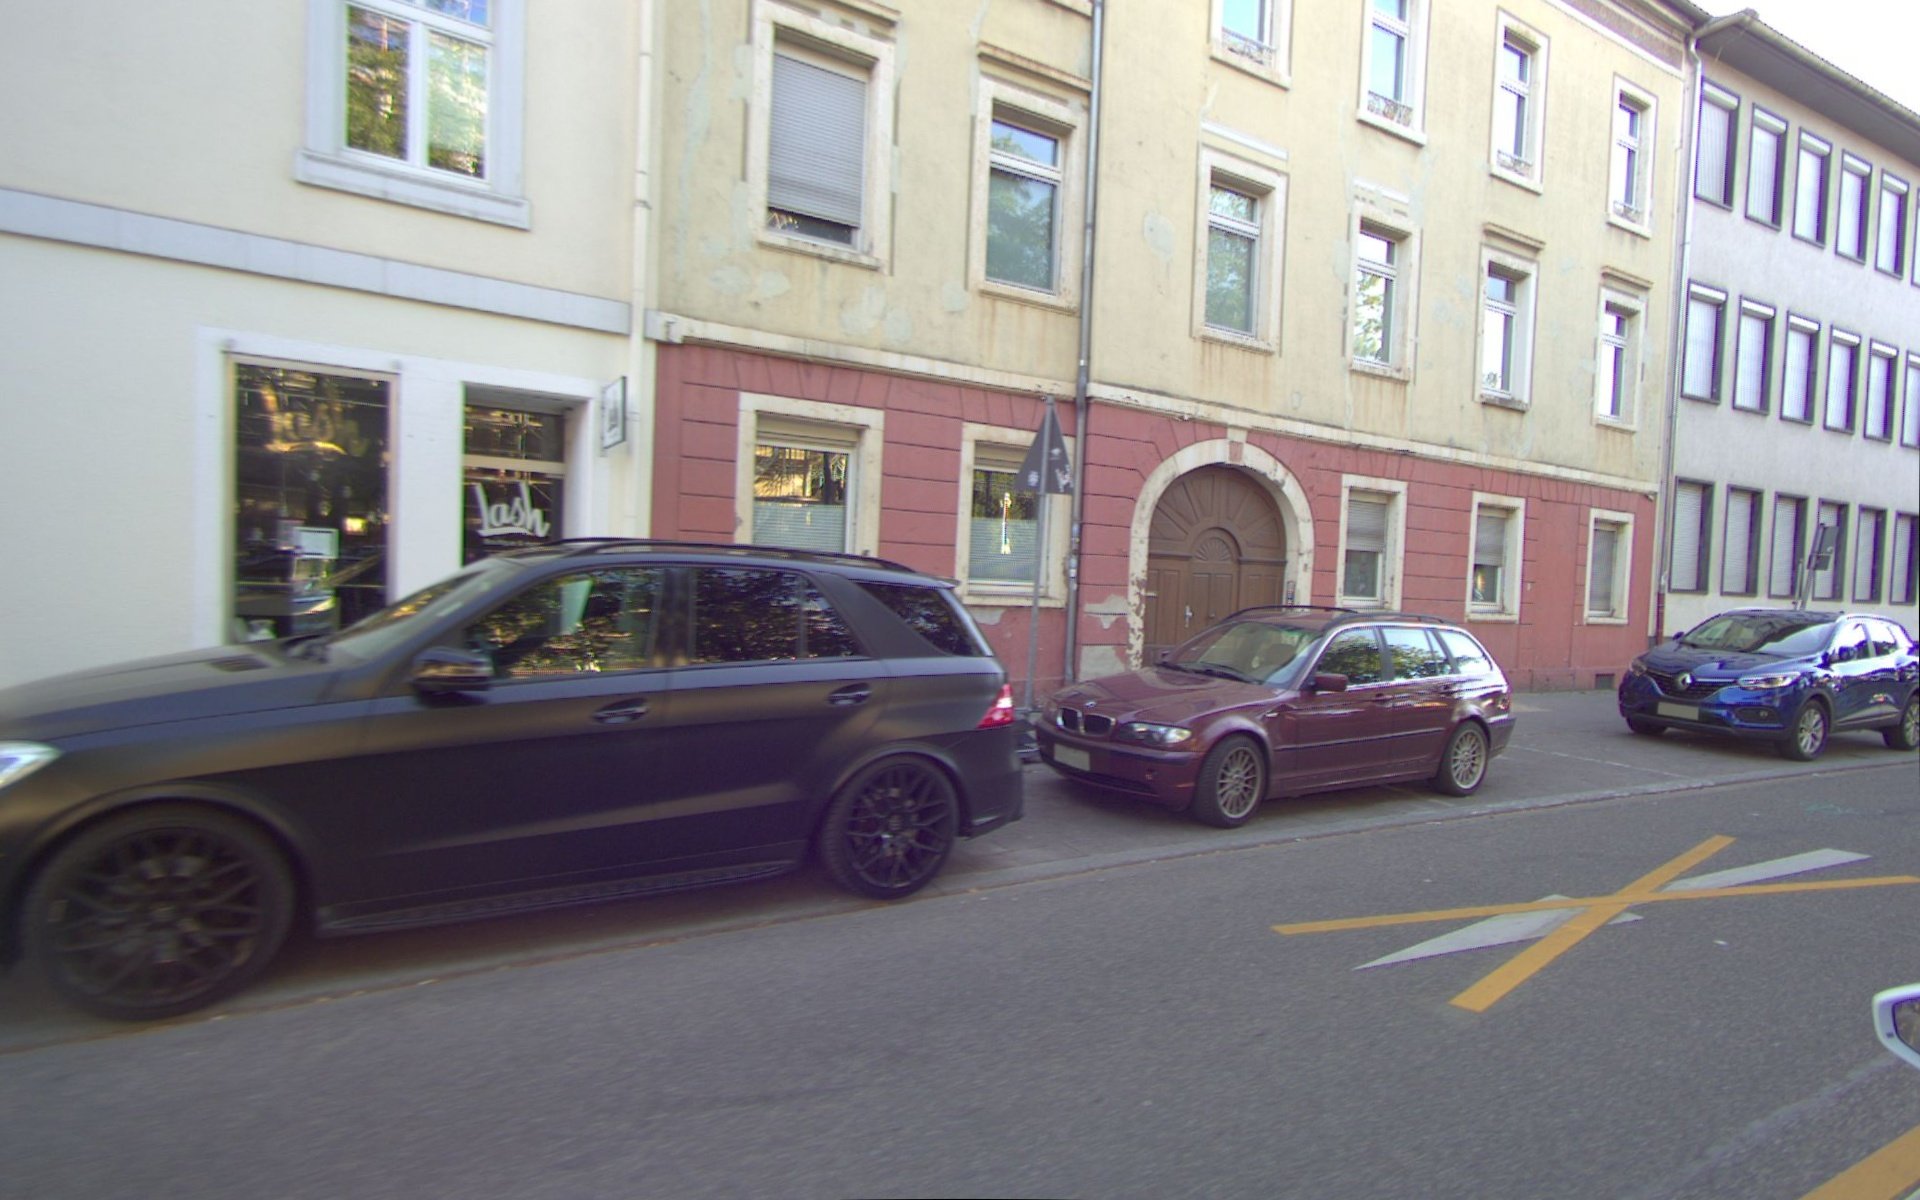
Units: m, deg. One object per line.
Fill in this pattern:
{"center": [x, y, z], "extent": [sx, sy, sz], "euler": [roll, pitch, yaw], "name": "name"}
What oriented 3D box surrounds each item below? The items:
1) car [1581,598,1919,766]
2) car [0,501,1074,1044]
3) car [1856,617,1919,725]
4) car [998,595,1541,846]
{"center": [9.810, 0.890, 12.206], "extent": [4.292, 1.690, 1.926], "euler": [1, 1, -28], "name": "car"}
{"center": [-1.913, 0.555, 4.936], "extent": [4.731, 1.702, 1.912], "euler": [1, 1, -32], "name": "car"}
{"center": [16.114, 1.116, 15.520], "extent": [4.700, 1.524, 1.816], "euler": [1, 3, -28], "name": "car"}
{"center": [2.587, 0.778, 8.008], "extent": [4.378, 1.500, 1.644], "euler": [1, 1, -32], "name": "car"}
